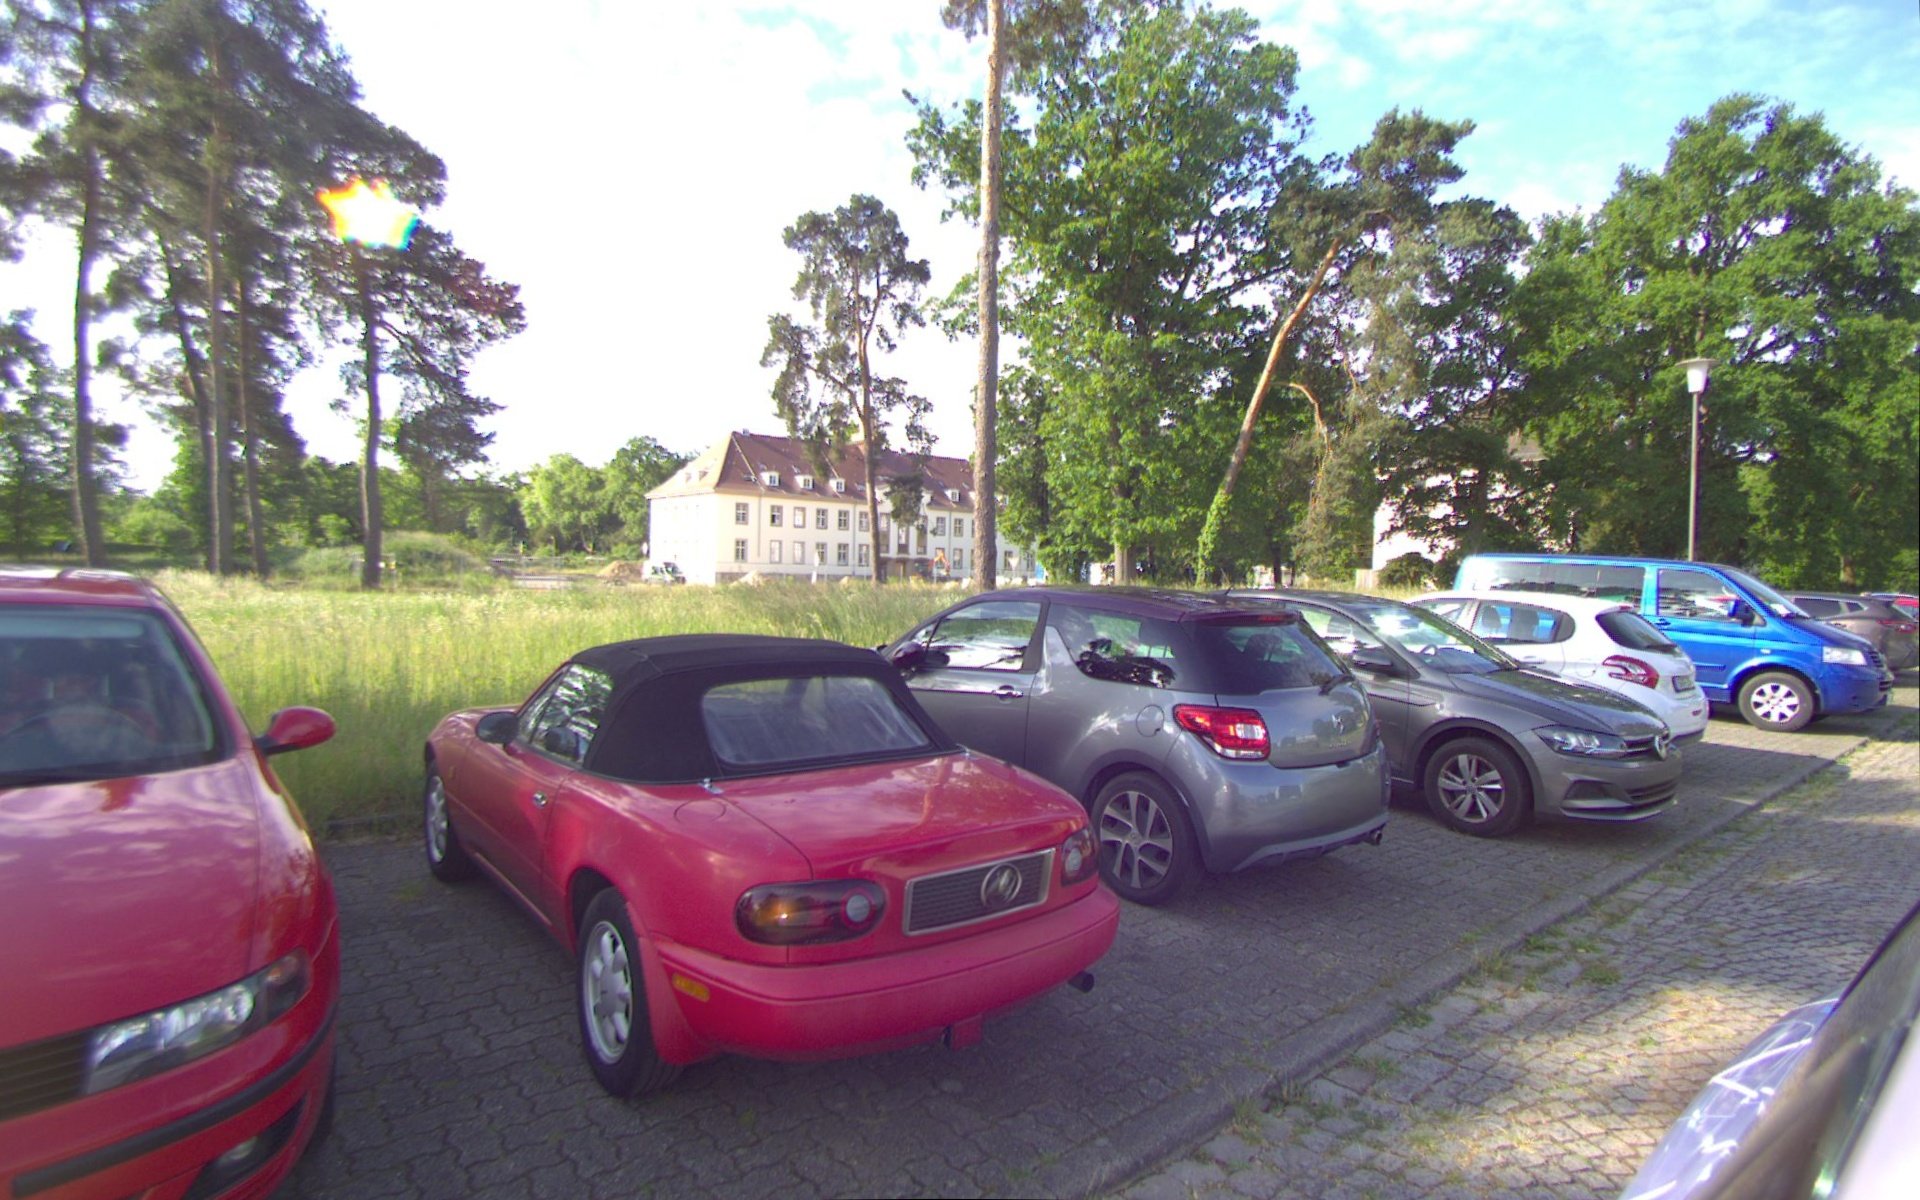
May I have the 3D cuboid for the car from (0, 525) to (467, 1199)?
[{"bbox_3d":[-2.782,0.532,2.804,1.607,1.466,4.138,1,3,-40],"label":"car"}]

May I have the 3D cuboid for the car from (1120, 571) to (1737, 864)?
[{"bbox_3d":[3.229,0.607,7.543,1.823,1.466,3.717,0,3,-40],"label":"car"}]

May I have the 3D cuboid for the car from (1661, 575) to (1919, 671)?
[{"bbox_3d":[17.333,0.383,21.012,1.902,1.617,4.232,-1,4,-43],"label":"car"}]

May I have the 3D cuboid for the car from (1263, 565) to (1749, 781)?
[{"bbox_3d":[5.068,0.515,9.796,1.729,1.553,3.717,1,3,-40],"label":"car"}]

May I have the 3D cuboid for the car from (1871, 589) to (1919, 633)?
[{"bbox_3d":[34.499,0.469,35.100,1.754,1.440,4.095,1,3,-41],"label":"car"}]

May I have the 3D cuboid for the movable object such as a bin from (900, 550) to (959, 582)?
[{"bbox_3d":[-3.452,-3.826,114.473,6.337,3.342,2.862,-1,0,7],"label":"movable object such as a bin"}]

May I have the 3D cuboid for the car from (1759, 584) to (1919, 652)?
[{"bbox_3d":[23.170,0.453,25.811,1.821,1.477,4.095,1,3,-41],"label":"car"}]

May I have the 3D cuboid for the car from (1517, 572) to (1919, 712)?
[{"bbox_3d":[10.975,0.469,14.939,1.905,1.596,4.407,0,3,-40],"label":"car"}]

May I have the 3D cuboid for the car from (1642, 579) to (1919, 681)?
[{"bbox_3d":[15.552,0.466,18.997,1.902,1.617,4.231,-1,3,-43],"label":"car"}]

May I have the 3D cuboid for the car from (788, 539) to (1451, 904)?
[{"bbox_3d":[0.692,0.425,6.189,1.784,1.466,3.716,0,3,-40],"label":"car"}]

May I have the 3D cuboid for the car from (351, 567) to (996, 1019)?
[{"bbox_3d":[-1.709,0.541,5.024,1.715,1.238,3.717,0,3,-40],"label":"car"}]

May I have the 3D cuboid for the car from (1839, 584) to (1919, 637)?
[{"bbox_3d":[30.888,0.387,32.240,1.821,1.576,4.095,1,3,-41],"label":"car"}]

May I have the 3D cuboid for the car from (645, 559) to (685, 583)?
[{"bbox_3d":[-28.921,-2.814,99.162,1.967,2.240,4.422,-1,0,-44],"label":"car"}]

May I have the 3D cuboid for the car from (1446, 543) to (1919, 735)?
[{"bbox_3d":[9.150,0.308,13.114,1.965,1.959,4.709,0,3,-40],"label":"car"}]
